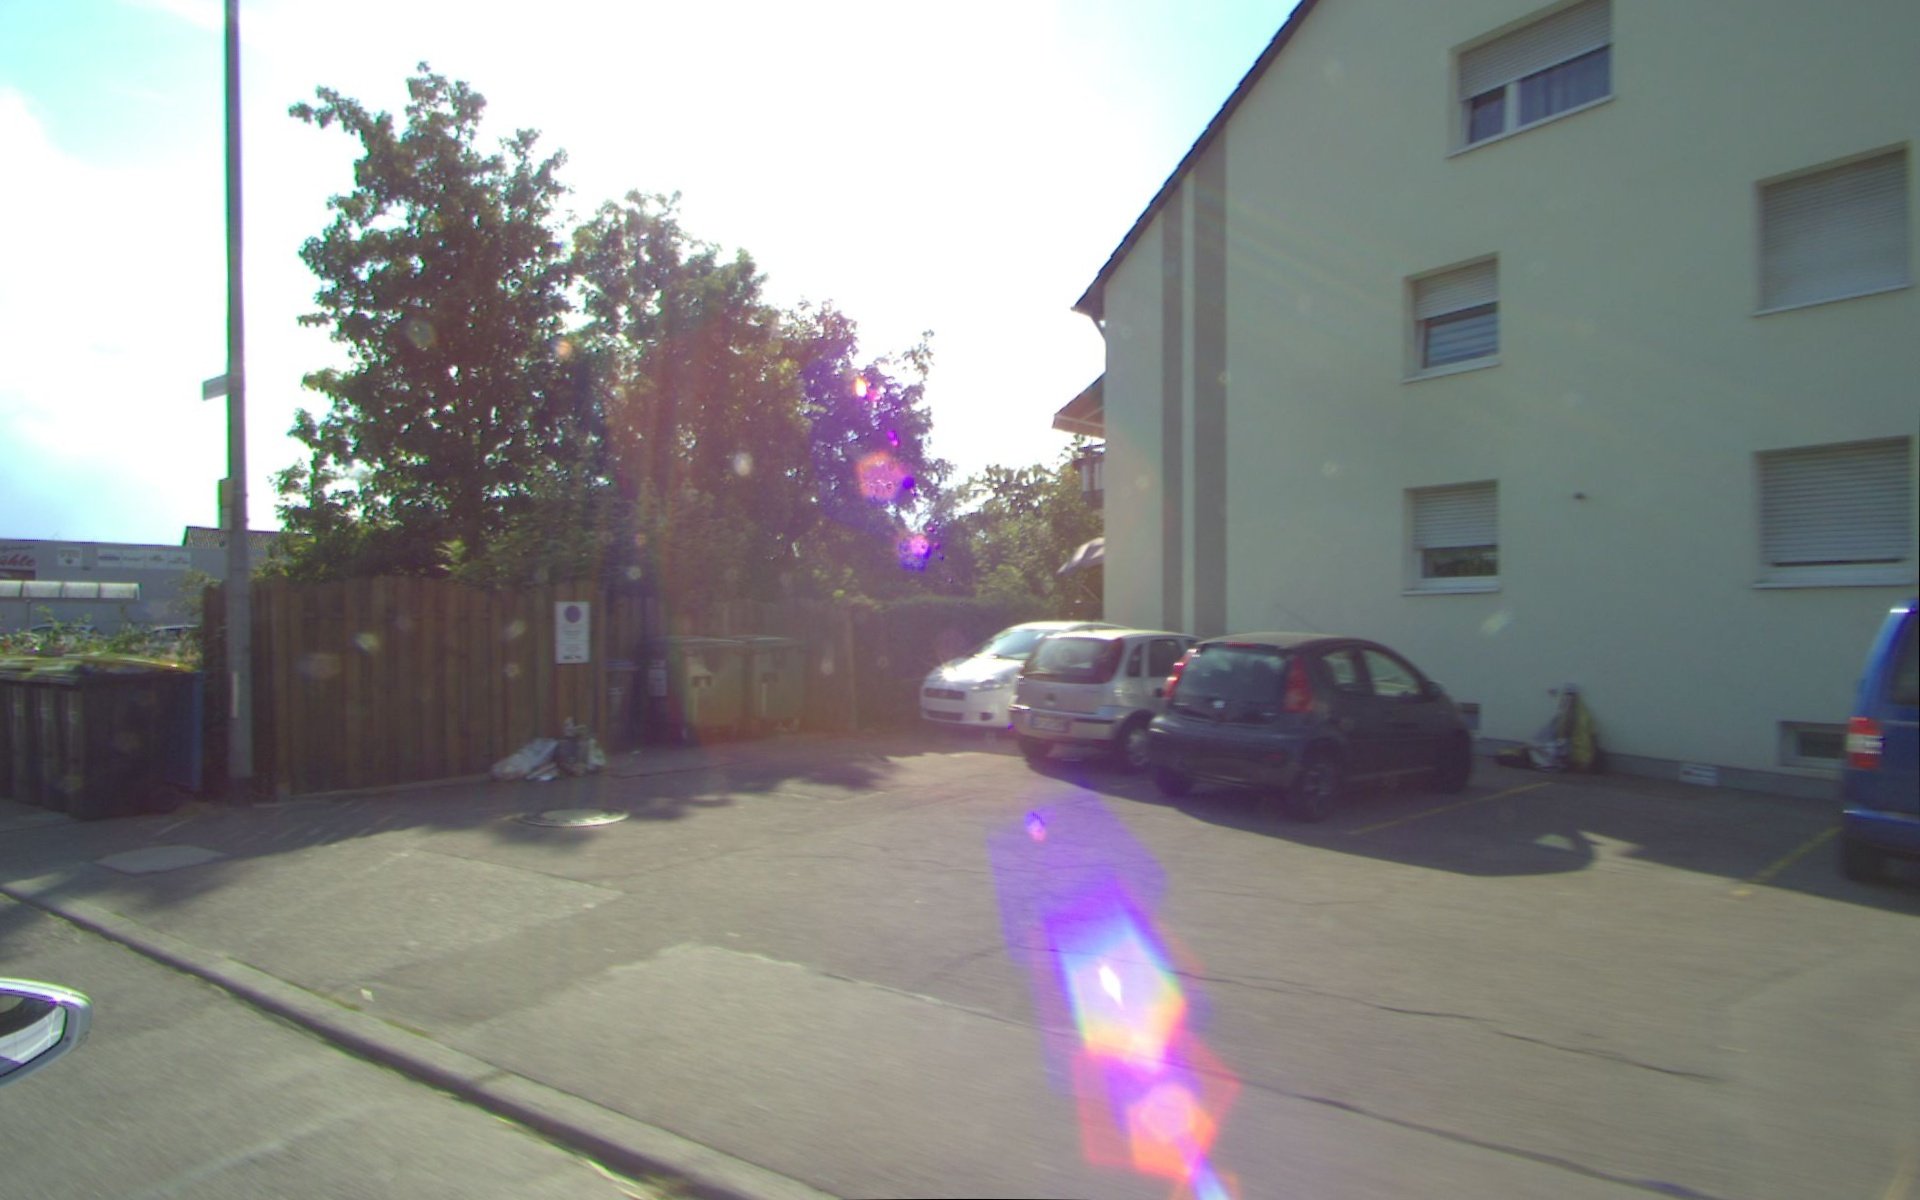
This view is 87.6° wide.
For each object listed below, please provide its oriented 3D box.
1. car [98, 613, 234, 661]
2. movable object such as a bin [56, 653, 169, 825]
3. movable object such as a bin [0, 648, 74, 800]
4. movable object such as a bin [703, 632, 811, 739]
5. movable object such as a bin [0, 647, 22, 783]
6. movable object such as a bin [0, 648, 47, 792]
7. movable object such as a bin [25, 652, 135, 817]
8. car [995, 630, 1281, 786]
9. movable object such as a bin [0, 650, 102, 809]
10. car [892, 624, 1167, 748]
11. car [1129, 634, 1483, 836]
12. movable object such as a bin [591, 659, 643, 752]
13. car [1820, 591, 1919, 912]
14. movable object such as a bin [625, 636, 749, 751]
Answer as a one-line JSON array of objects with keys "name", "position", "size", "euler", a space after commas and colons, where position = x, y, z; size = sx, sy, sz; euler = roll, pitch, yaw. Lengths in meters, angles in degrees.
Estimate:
[{"name": "car", "position": [-25.850, 1.170, 32.686], "size": [3.409, 1.435, 1.486], "euler": [0, -1, -40]}, {"name": "movable object such as a bin", "position": [-6.104, 0.973, 7.214], "size": [0.530, 1.158, 0.478], "euler": [0, 0, 31]}, {"name": "movable object such as a bin", "position": [-7.551, 0.975, 8.067], "size": [0.530, 1.158, 0.478], "euler": [0, 0, 31]}, {"name": "movable object such as a bin", "position": [-2.739, 1.119, 13.536], "size": [0.994, 1.354, 1.034], "euler": [1, -1, 45]}, {"name": "movable object such as a bin", "position": [-8.521, 0.993, 8.650], "size": [0.530, 1.158, 0.478], "euler": [0, 0, 31]}, {"name": "movable object such as a bin", "position": [-8.031, 0.989, 8.351], "size": [0.530, 1.158, 0.478], "euler": [0, 0, 31]}, {"name": "movable object such as a bin", "position": [-6.578, 0.977, 7.492], "size": [0.530, 1.158, 0.478], "euler": [0, 0, 31]}, {"name": "car", "position": [2.066, 1.104, 11.283], "size": [3.104, 1.469, 1.562], "euler": [2, -1, -41]}, {"name": "movable object such as a bin", "position": [-7.068, 0.980, 7.774], "size": [0.535, 1.158, 0.478], "euler": [0, 0, 31]}, {"name": "car", "position": [1.041, 1.080, 13.730], "size": [3.716, 1.469, 1.622], "euler": [2, -2, -41]}, {"name": "car", "position": [3.240, 1.084, 9.195], "size": [3.183, 1.469, 1.636], "euler": [2, -1, -39]}, {"name": "movable object such as a bin", "position": [-4.094, 1.248, 11.959], "size": [0.437, 1.058, 0.429], "euler": [1, 0, 45]}, {"name": "car", "position": [7.278, 0.902, 6.681], "size": [4.170, 1.810, 1.752], "euler": [2, -2, -41]}, {"name": "movable object such as a bin", "position": [-3.450, 1.140, 12.676], "size": [1.034, 1.354, 1.146], "euler": [0, -1, 43]}]
